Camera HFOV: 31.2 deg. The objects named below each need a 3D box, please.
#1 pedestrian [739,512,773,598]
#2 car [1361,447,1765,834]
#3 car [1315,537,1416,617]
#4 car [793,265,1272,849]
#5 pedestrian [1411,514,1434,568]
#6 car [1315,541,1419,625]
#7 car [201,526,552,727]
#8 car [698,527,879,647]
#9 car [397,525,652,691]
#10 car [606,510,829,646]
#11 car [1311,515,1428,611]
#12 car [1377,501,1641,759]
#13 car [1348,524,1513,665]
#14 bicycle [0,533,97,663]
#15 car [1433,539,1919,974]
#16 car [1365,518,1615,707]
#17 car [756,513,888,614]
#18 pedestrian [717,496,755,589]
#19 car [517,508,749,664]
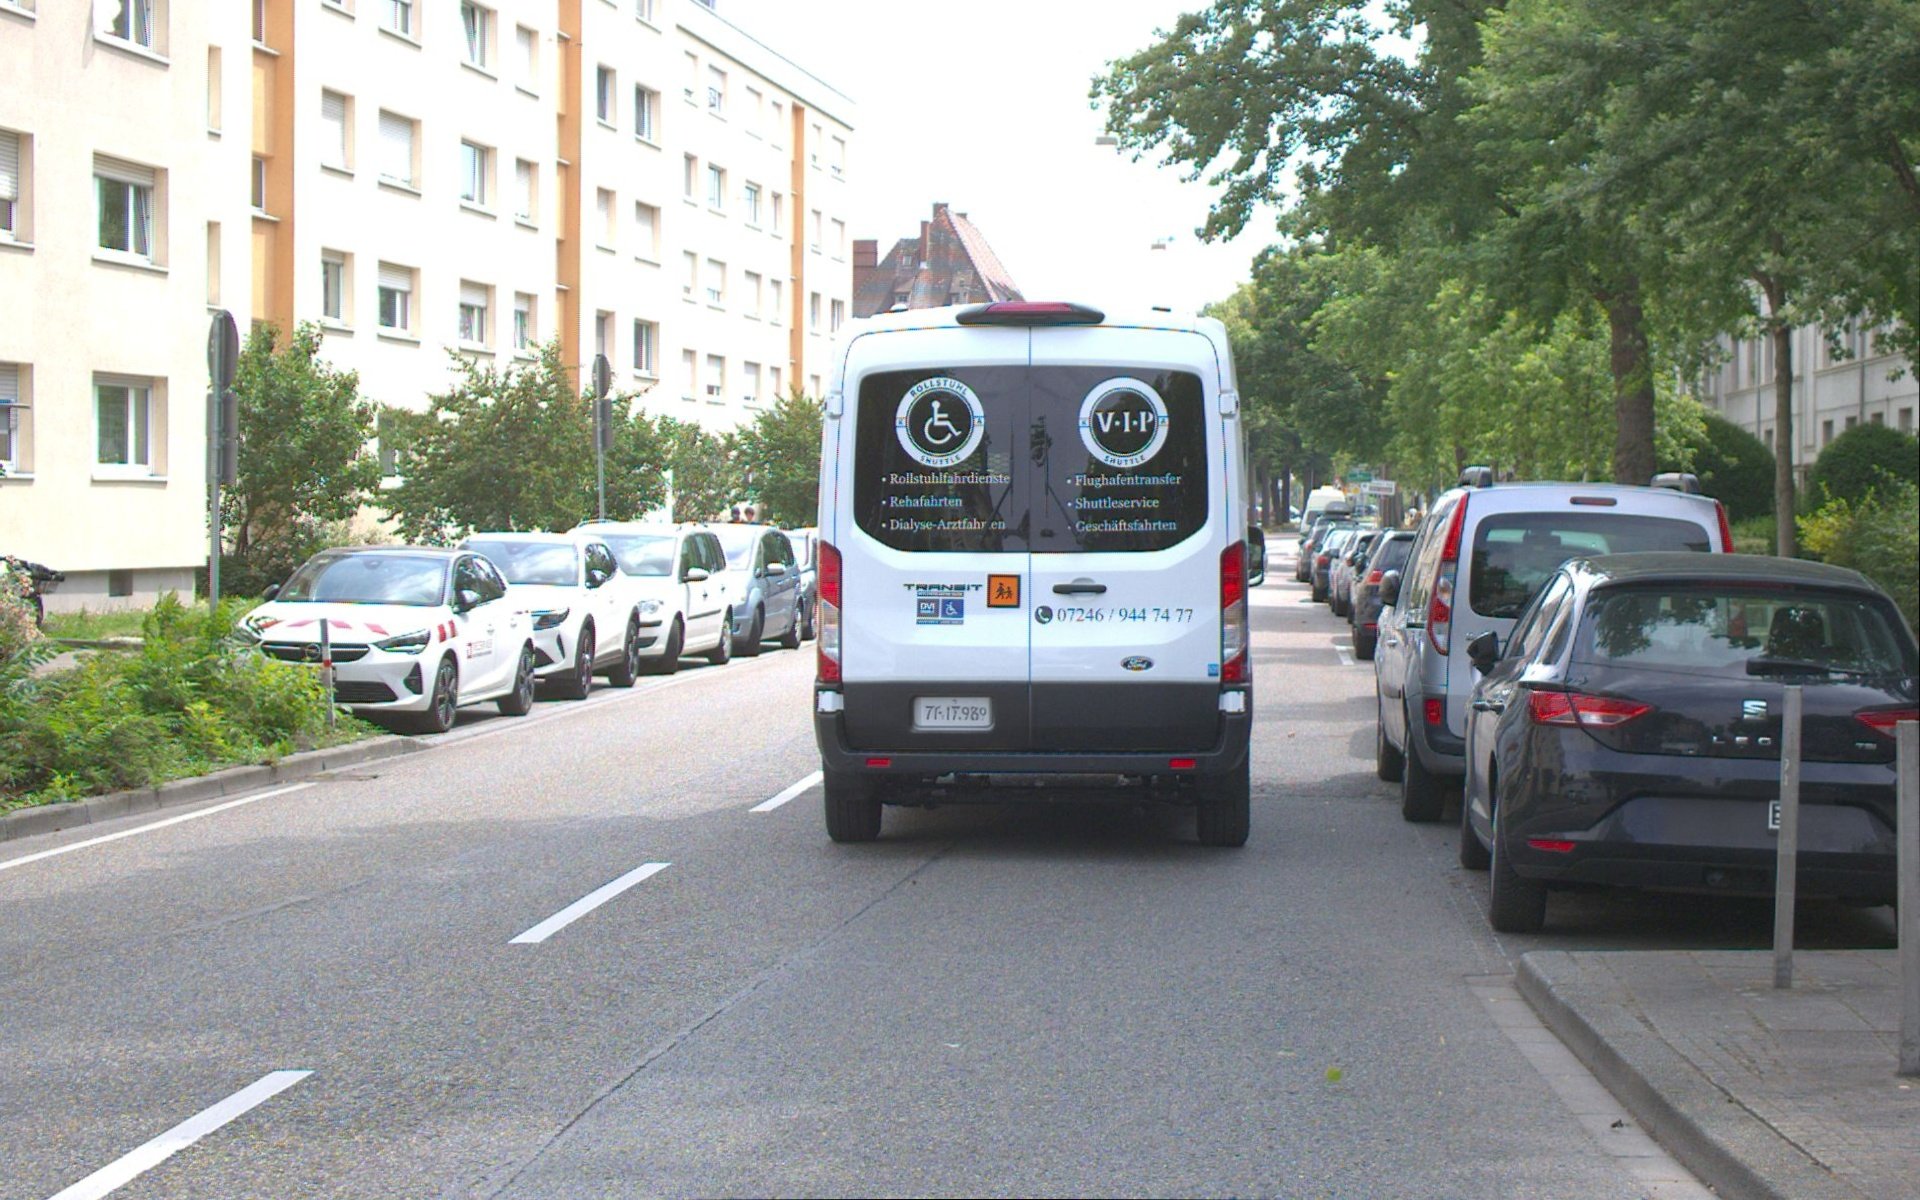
[{"bbox_3d":[-4.302,-0.946,72.494,0.619,1.807,0.803,0,1,3],"label":"pedestrian"},{"bbox_3d":[3.261,0.153,19.448,1.918,1.859,4.845,2,1,7],"label":"car"},{"bbox_3d":[7.966,-0.473,67.278,1.780,1.464,4.613,2,1,8],"label":"car"},{"bbox_3d":[0.461,-0.209,17.332,2.070,2.531,4.634,-1,1,4],"label":"car"},{"bbox_3d":[15.649,-2.005,116.325,0.522,1.822,0.524,-1,1,-36],"label":"pedestrian"},{"bbox_3d":[7.327,-0.334,62.152,1.670,1.396,3.851,3,1,5],"label":"car"},{"bbox_3d":[-4.660,0.163,28.024,1.709,1.468,3.988,2,1,7],"label":"car"},{"bbox_3d":[-2.431,-0.225,49.749,1.943,1.607,4.301,2,1,6],"label":"car"},{"bbox_3d":[-4.176,0.034,33.518,1.709,1.468,3.989,2,1,4],"label":"car"},{"bbox_3d":[-3.059,-0.313,44.446,1.943,1.607,4.860,2,1,7],"label":"car"},{"bbox_3d":[6.743,-0.635,56.973,1.697,1.464,4.717,2,1,5],"label":"car"},{"bbox_3d":[3.766,0.155,24.059,1.605,1.602,3.804,2,1,7],"label":"car"},{"bbox_3d":[5.302,-0.098,39.115,1.697,1.464,4.100,2,1,6],"label":"car"},{"bbox_3d":[-9.518,-0.035,34.881,0.579,1.247,1.932,1,2,16],"label":"bicycle"},{"bbox_3d":[2.939,0.498,13.870,1.918,1.439,4.238,2,1,7],"label":"car"},{"bbox_3d":[4.352,0.055,28.707,1.697,1.445,4.101,1,1,4],"label":"car"},{"bbox_3d":[-2.228,-0.618,56.327,1.670,1.556,3.851,2,1,4],"label":"car"},{"bbox_3d":[-4.415,-1.133,67.823,0.619,1.807,0.899,1,1,3],"label":"pedestrian"},{"bbox_3d":[-3.626,-0.189,38.882,1.697,1.607,4.476,2,1,6],"label":"car"}]
